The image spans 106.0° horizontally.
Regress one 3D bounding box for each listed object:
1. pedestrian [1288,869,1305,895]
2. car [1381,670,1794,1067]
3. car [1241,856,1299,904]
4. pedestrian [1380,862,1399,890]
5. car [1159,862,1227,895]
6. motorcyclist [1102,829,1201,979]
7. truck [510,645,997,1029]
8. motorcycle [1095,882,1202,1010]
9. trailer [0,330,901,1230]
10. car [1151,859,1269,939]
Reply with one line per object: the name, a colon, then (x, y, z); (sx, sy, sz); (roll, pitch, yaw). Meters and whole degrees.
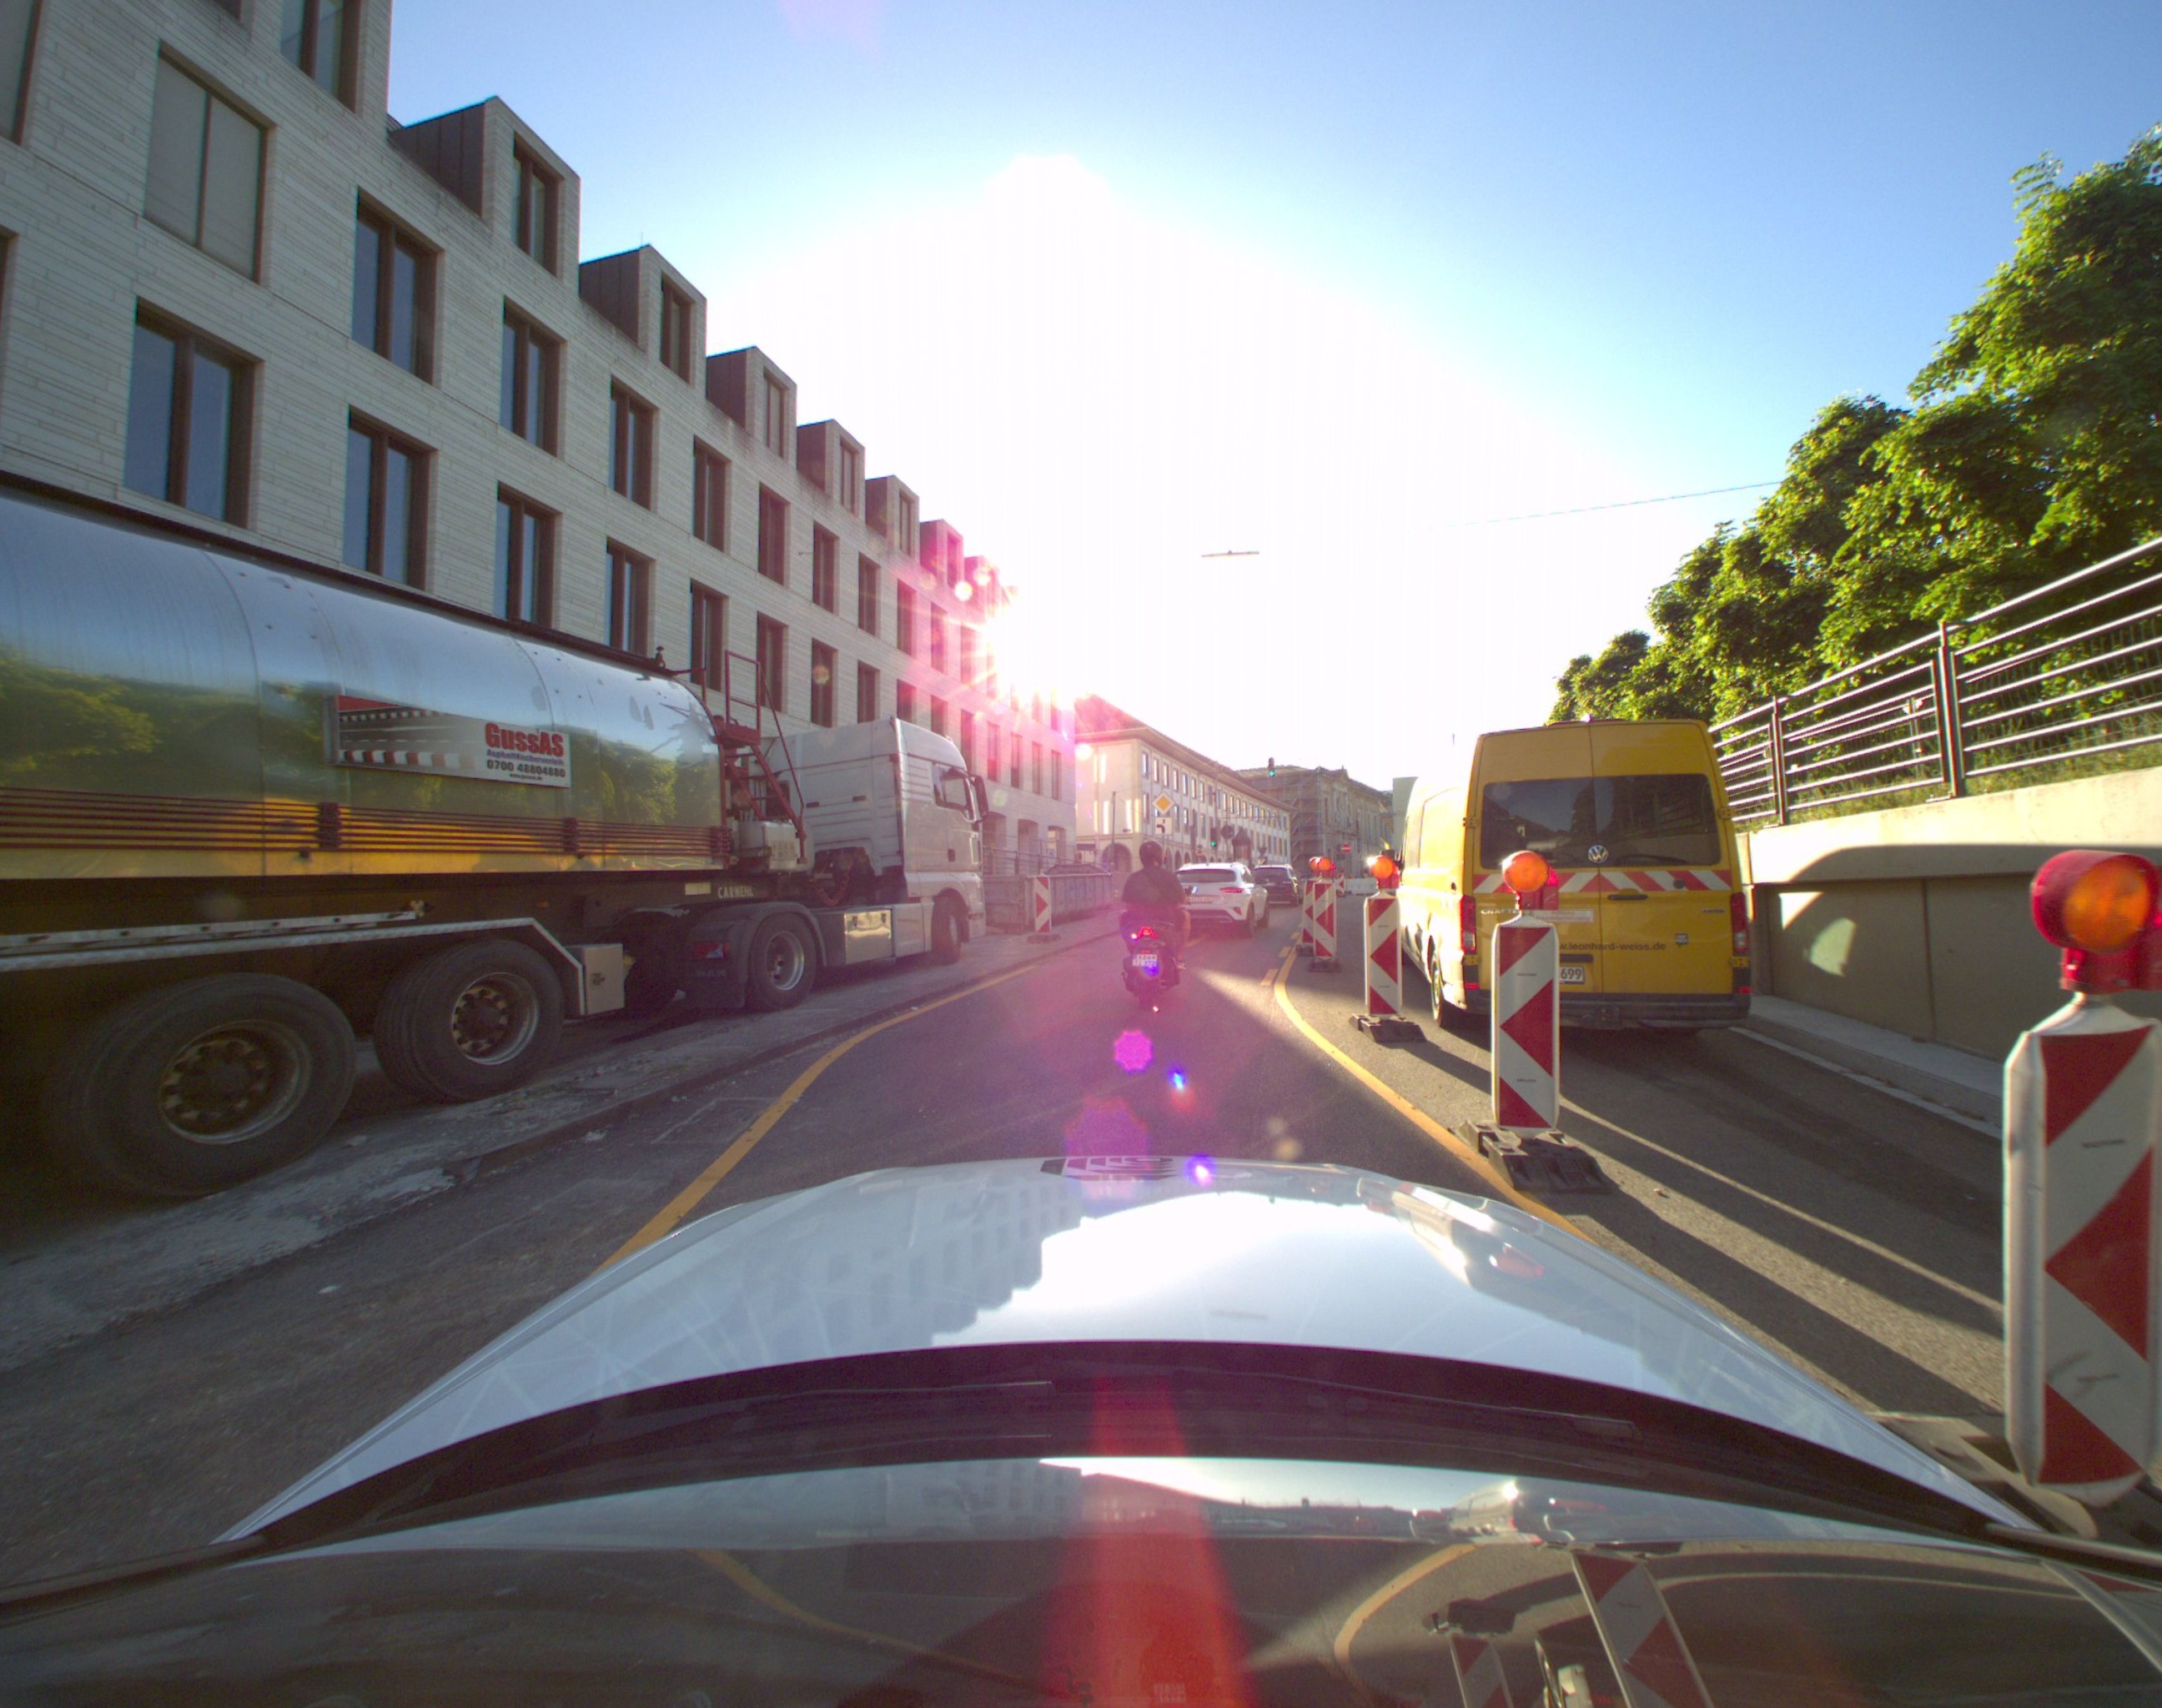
pedestrian: (14.347, 1.874, 54.139); (0.956, 1.710, 0.679); (-2, -1, 22)
car: (4.682, 0.149, 9.025); (2.095, 2.625, 7.018); (-2, -1, 17)
car: (6.838, 0.964, 29.203); (1.760, 1.550, 4.123); (-2, -3, 16)
pedestrian: (19.342, 1.394, 51.075); (0.966, 1.729, 0.802); (-4, -5, 21)
car: (6.183, 1.322, 45.385); (1.812, 1.721, 4.128); (-1, -1, -25)
motorcyclist: (0.825, 0.540, 9.206); (0.948, 1.560, 1.243); (-1, -1, 11)
truck: (-3.590, -0.085, 10.682); (2.559, 3.489, 5.842); (-6, -2, 17)
motorcycle: (0.844, 0.940, 9.209); (0.900, 1.183, 2.586); (-1, -1, 11)
trailer: (-4.855, -0.216, 6.364); (2.622, 3.669, 8.784); (-6, -2, 15)
car: (2.870, 0.850, 17.379); (1.844, 1.472, 4.019); (0, 0, 18)
